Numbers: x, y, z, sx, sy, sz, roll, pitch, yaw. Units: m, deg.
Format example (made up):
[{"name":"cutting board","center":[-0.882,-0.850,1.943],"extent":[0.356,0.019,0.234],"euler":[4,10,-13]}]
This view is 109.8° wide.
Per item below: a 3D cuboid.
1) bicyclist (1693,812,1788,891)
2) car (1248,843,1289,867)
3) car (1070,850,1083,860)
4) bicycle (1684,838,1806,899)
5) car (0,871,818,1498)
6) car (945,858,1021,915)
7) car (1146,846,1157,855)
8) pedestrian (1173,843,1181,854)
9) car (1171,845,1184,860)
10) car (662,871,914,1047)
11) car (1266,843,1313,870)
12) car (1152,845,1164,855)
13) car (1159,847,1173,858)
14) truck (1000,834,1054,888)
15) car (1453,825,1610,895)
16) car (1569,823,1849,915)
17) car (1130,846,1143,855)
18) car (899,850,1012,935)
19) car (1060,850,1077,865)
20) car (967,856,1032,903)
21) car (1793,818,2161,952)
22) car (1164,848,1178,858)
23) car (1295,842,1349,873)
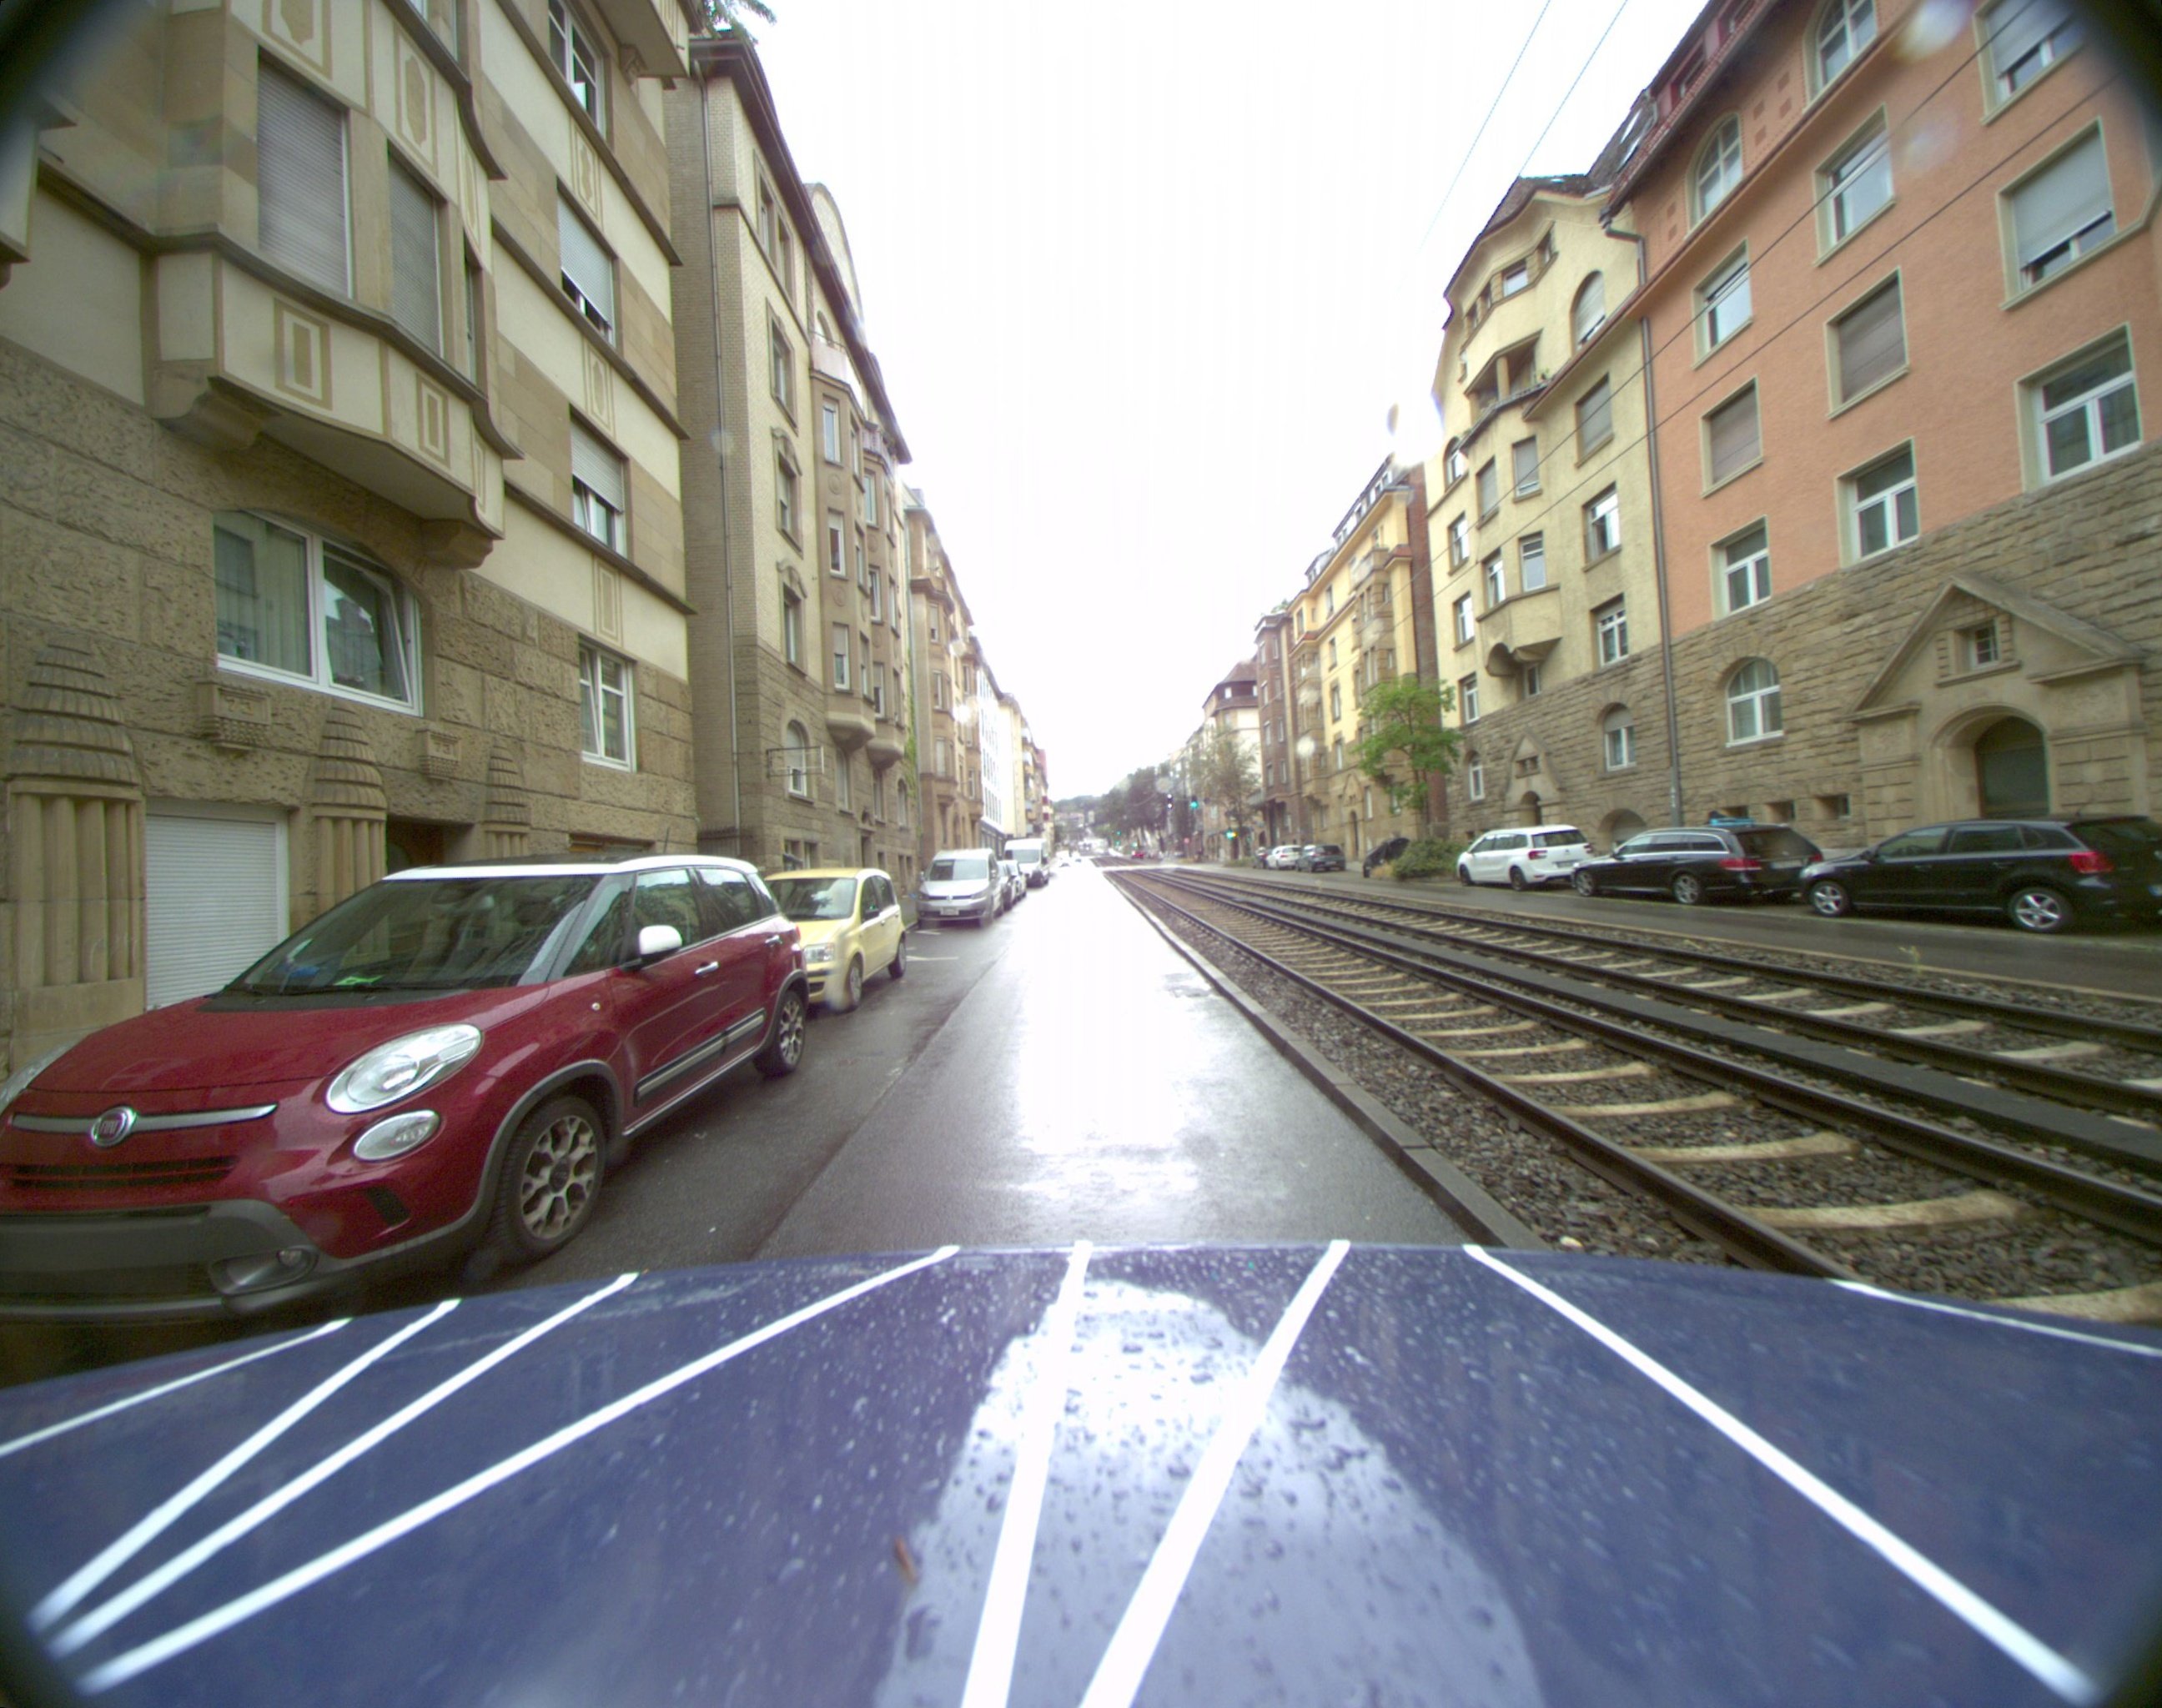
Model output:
[{"name":"bicyclist","center":[14.169,-0.060,16.367],"extent":[0.886,1.588,1.253],"euler":[-3,1,-2]},{"name":"car","center":[12.482,0.071,50.744],"extent":[1.771,1.433,3.845],"euler":[-3,0,1]},{"name":"car","center":[-0.714,0.224,127.390],"extent":[1.998,1.562,4.000],"euler":[-3,0,1]},{"name":"bicycle","center":[14.138,0.281,16.269],"extent":[0.826,1.179,2.037],"euler":[-3,0,1]},{"name":"car","center":[-3.033,0.979,4.088],"extent":[1.807,1.590,3.999],"euler":[-3,0,-1]},{"name":"car","center":[-2.964,0.940,23.811],"extent":[1.999,1.521,3.999],"euler":[-3,0,-3]},{"name":"car","center":[12.433,-0.633,133.700],"extent":[1.632,1.537,3.801],"euler":[-3,0,1]},{"name":"pedestrian","center":[16.197,-0.929,128.274],"extent":[1.056,1.946,1.163],"euler":[-3,1,2]},{"name":"car","center":[12.671,-0.234,99.541],"extent":[1.583,1.669,3.790],"euler":[-3,2,7]},{"name":"car","center":[-3.189,1.042,9.037],"extent":[1.580,1.520,3.578],"euler":[-3,0,-1]},{"name":"car","center":[12.472,0.124,45.649],"extent":[1.771,1.433,4.031],"euler":[-3,0,2]},{"name":"car","center":[12.837,-0.634,126.831],"extent":[1.657,1.589,3.775],"euler":[-3,0,1]},{"name":"car","center":[12.868,-0.277,115.361],"extent":[1.771,1.507,3.845],"euler":[-3,0,1]},{"name":"truck","center":[-2.723,0.344,39.941],"extent":[2.235,2.521,6.143],"euler":[-3,0,1]},{"name":"car","center":[12.273,0.139,21.042],"extent":[1.867,1.646,4.146],"euler":[-3,0,1]},{"name":"car","center":[12.292,0.252,15.380],"extent":[1.847,1.486,4.601],"euler":[-3,0,1]},{"name":"car","center":[9.635,-0.588,131.767],"extent":[1.808,1.514,4.963],"euler":[-3,0,-1]},{"name":"car","center":[-3.010,0.850,19.195],"extent":[1.968,1.792,4.459],"euler":[-3,0,1]},{"name":"car","center":[-1.665,0.477,99.555],"extent":[1.998,1.838,4.000],"euler":[-3,0,1]},{"name":"car","center":[-2.953,0.883,28.312],"extent":[1.891,1.521,3.929],"euler":[-3,0,1]},{"name":"car","center":[12.529,0.319,10.462],"extent":[1.935,1.488,3.642],"euler":[-2,1,-2]},{"name":"car","center":[12.573,-0.088,106.379],"extent":[1.583,1.303,3.845],"euler":[-3,0,1]},{"name":"car","center":[12.504,0.135,39.610],"extent":[1.678,1.433,3.845],"euler":[-4,1,3]}]
